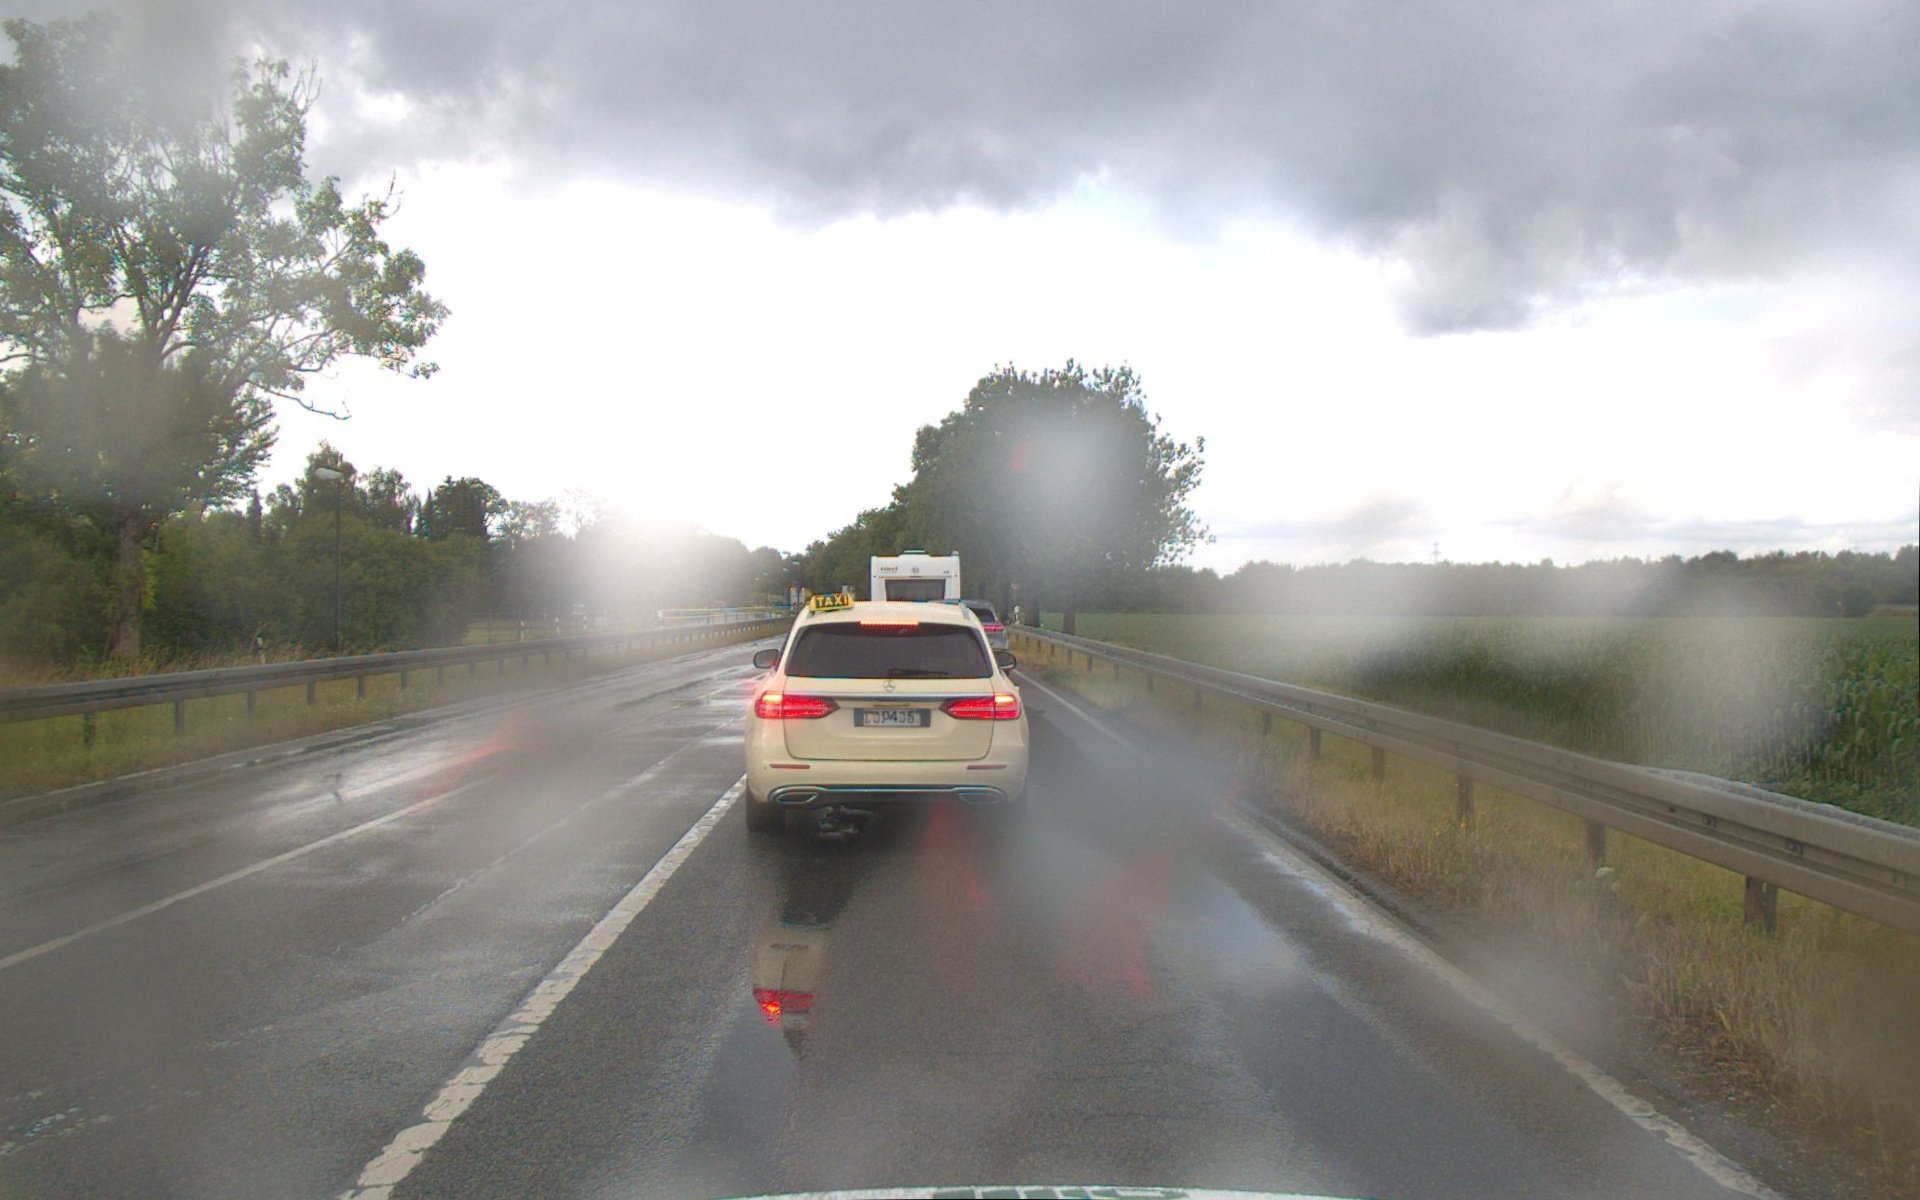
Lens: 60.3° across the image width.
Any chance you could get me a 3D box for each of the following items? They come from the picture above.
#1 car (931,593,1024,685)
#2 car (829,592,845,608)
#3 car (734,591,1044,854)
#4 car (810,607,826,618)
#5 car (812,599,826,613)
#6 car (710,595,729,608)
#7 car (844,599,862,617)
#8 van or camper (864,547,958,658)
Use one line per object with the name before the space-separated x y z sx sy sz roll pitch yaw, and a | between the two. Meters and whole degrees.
car | 0.262 0.656 30.174 1.594 1.556 3.931 0 0 -1
car | -15.670 0.011 210.163 1.954 2.049 3.997 0 0 -3
car | -0.407 0.714 11.643 1.787 1.511 4.145 0 0 0
car | -17.605 1.552 205.764 1.723 1.291 3.999 0 0 -1
car | -20.875 0.918 245.473 1.955 2.049 3.995 0 0 -6
car | -33.011 0.207 226.962 1.953 1.680 4.000 0 0 0
car | -12.799 0.987 197.726 1.953 2.087 4.000 0 0 0
van or camper | -1.249 0.049 43.597 2.303 2.727 5.767 0 0 -1
